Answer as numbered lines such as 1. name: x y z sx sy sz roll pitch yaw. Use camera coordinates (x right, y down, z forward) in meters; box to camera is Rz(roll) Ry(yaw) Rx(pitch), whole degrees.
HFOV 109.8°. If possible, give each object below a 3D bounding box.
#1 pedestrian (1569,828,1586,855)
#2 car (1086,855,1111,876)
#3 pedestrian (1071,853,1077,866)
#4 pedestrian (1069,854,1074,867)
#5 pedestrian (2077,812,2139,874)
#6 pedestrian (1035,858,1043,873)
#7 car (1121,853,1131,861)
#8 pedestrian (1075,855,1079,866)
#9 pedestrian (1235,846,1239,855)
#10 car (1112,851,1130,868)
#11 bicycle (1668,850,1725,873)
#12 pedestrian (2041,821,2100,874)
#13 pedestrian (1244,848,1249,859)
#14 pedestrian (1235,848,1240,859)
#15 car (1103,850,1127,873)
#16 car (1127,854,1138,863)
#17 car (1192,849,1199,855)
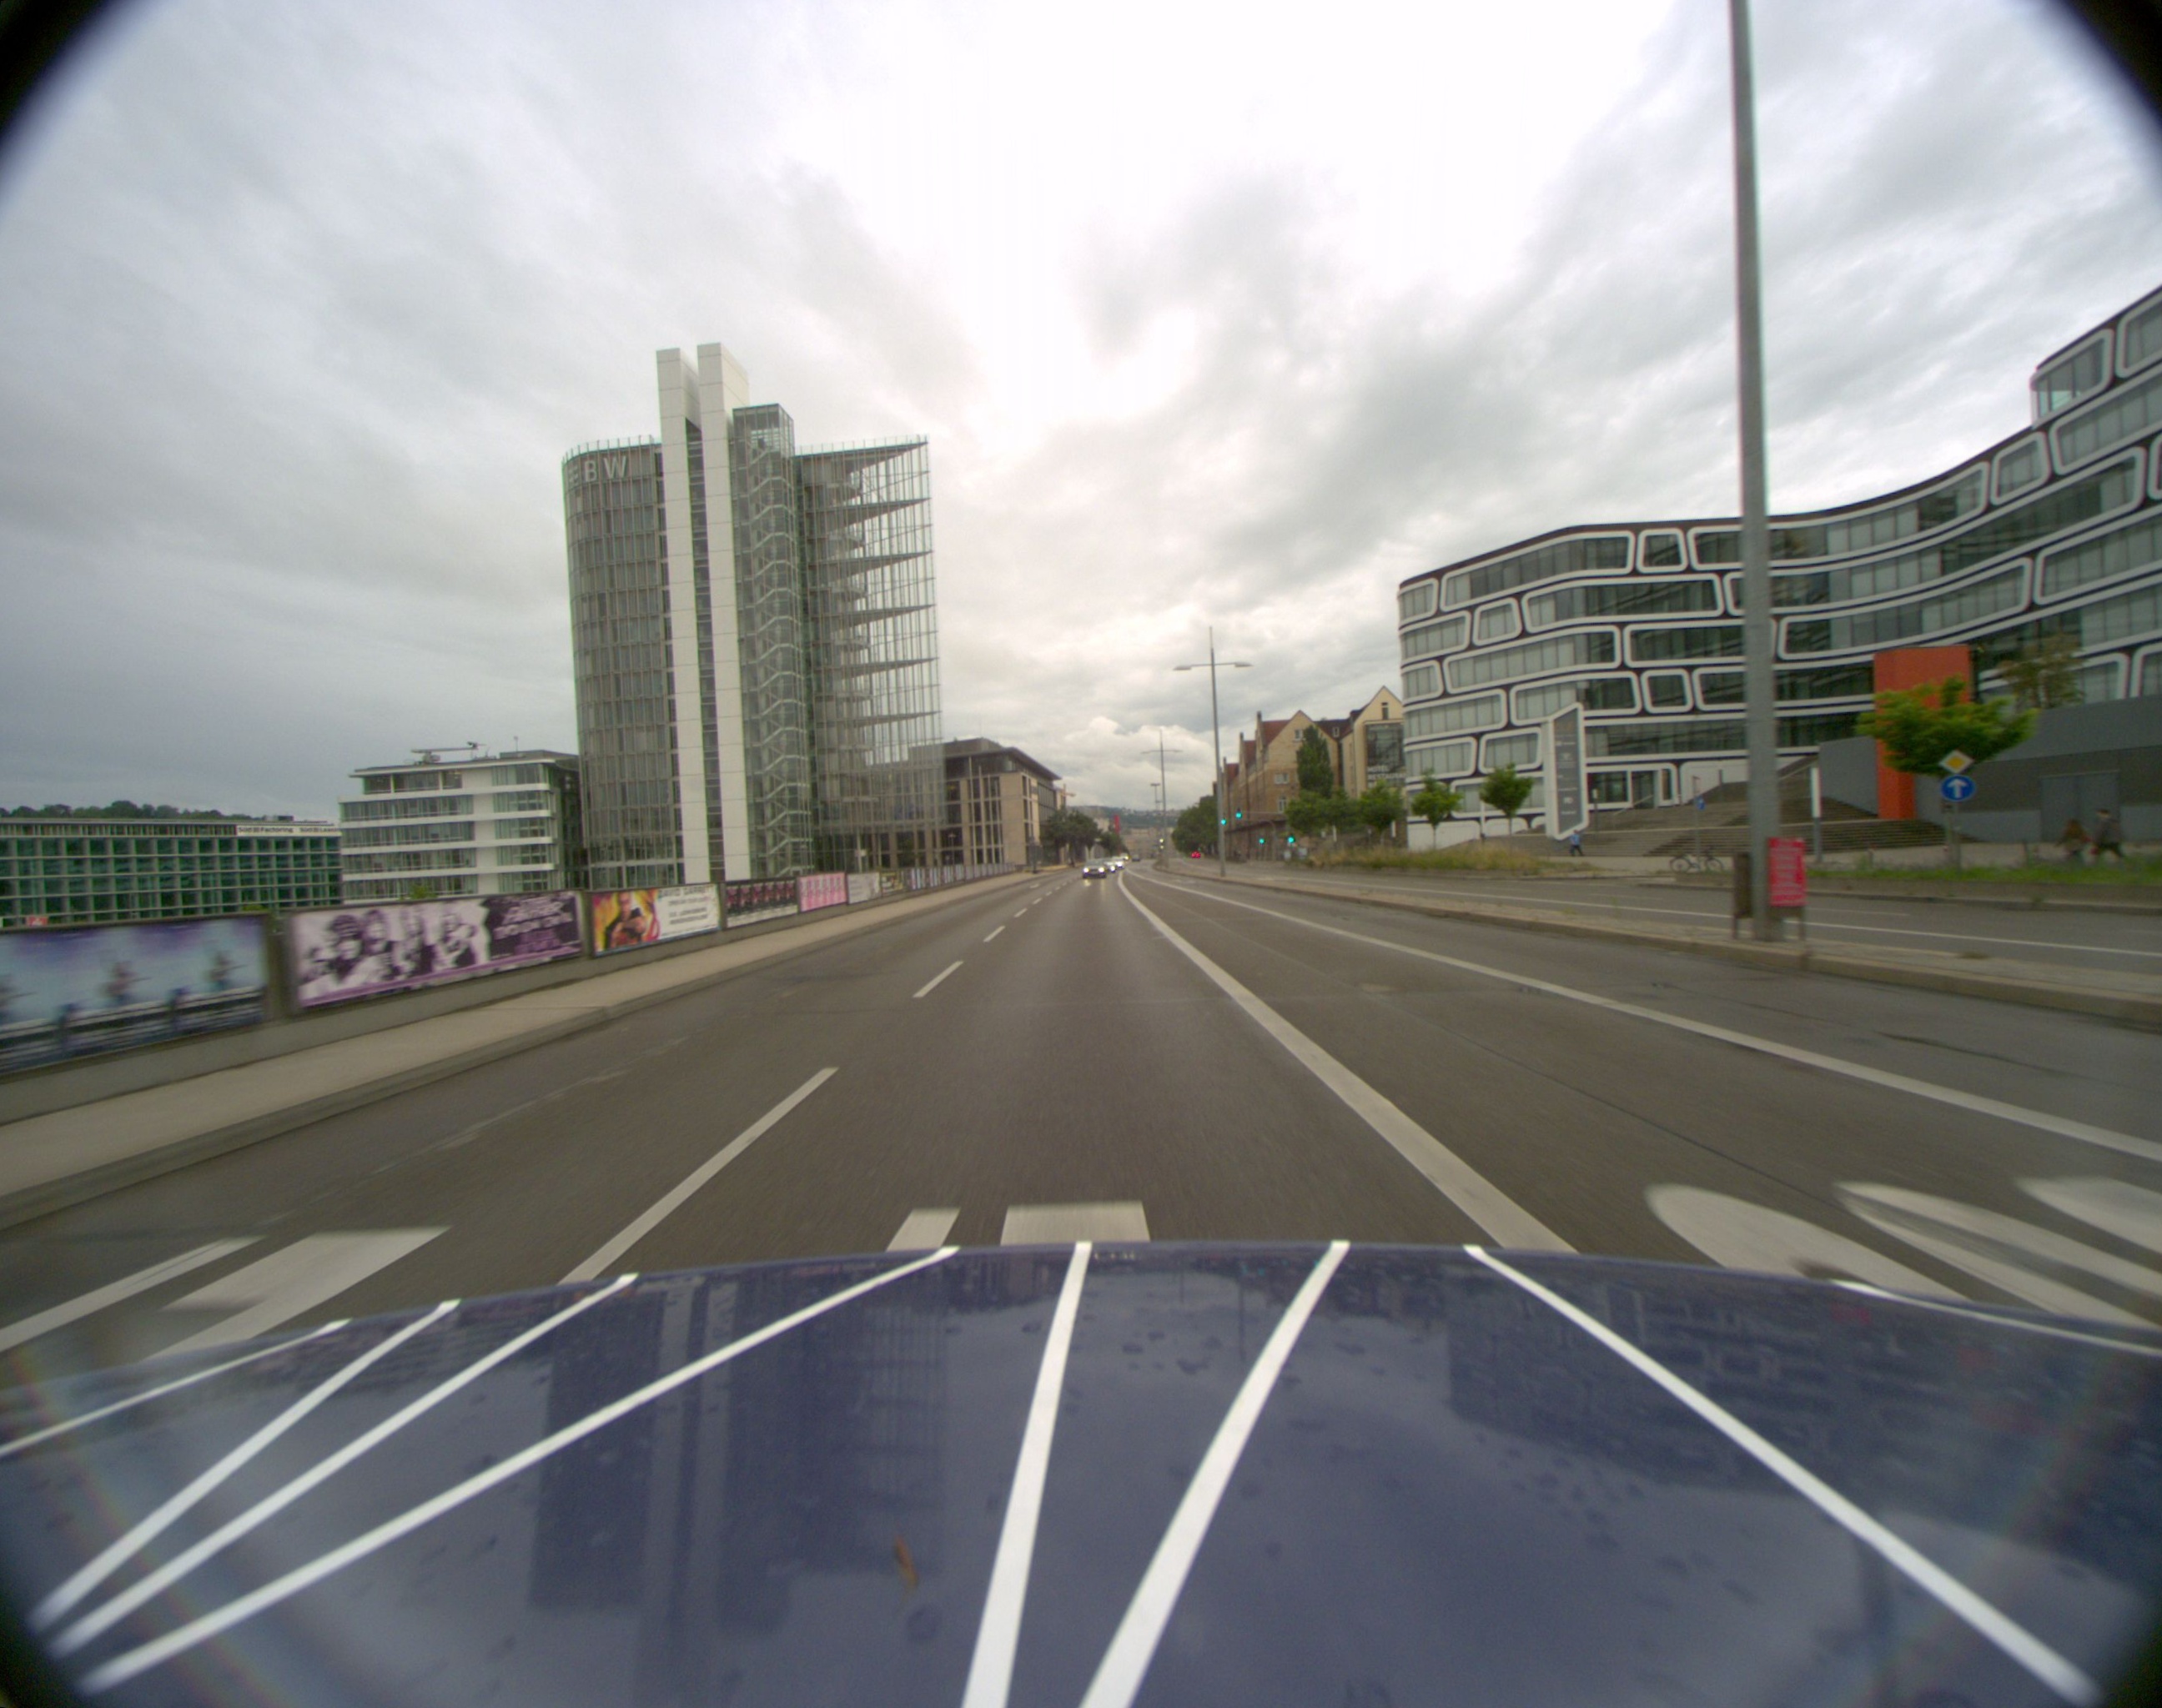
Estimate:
1. pedestrian: 30.242 -0.754 46.287 0.612 1.602 0.639 -2 2 3
2. car: 1.285 0.856 57.015 1.684 1.379 3.475 -2 1 0
3. pedestrian: -0.972 0.716 101.563 0.728 1.761 0.783 -2 2 -1
4. pedestrian: -1.231 0.852 99.761 0.461 1.590 0.656 -2 2 5
5. pedestrian: 28.487 -0.307 21.084 0.619 1.648 0.798 -2 2 1
6. pedestrian: -4.691 1.275 84.798 0.660 1.601 0.547 -3 0 6
7. car: 11.162 0.706 188.435 1.999 2.002 3.999 -2 1 -1
8. pedestrian: -0.540 0.855 100.561 0.542 1.519 0.600 -2 2 2
9. pedestrian: 29.089 -0.628 141.957 0.677 1.769 0.684 -2 2 6
10. car: 4.856 0.618 92.296 1.970 1.816 3.928 -2 2 6
11. bicycle: 24.263 0.283 29.985 0.610 0.852 1.653 -3 2 -33
12. pedestrian: 27.485 -0.192 21.117 0.619 1.438 0.798 -2 2 1
13. pedestrian: 26.539 -0.057 121.559 0.677 1.769 0.684 -2 2 6
14. pedestrian: 26.576 -0.083 128.790 0.677 1.769 0.684 -2 2 6
15. car: 3.183 0.678 71.870 1.999 2.002 3.999 -2 1 -1
16. car: 11.427 0.993 168.521 1.999 2.002 3.999 -2 1 -1
17. car: 31.028 -0.468 205.922 1.714 1.455 4.002 -3 0 6
